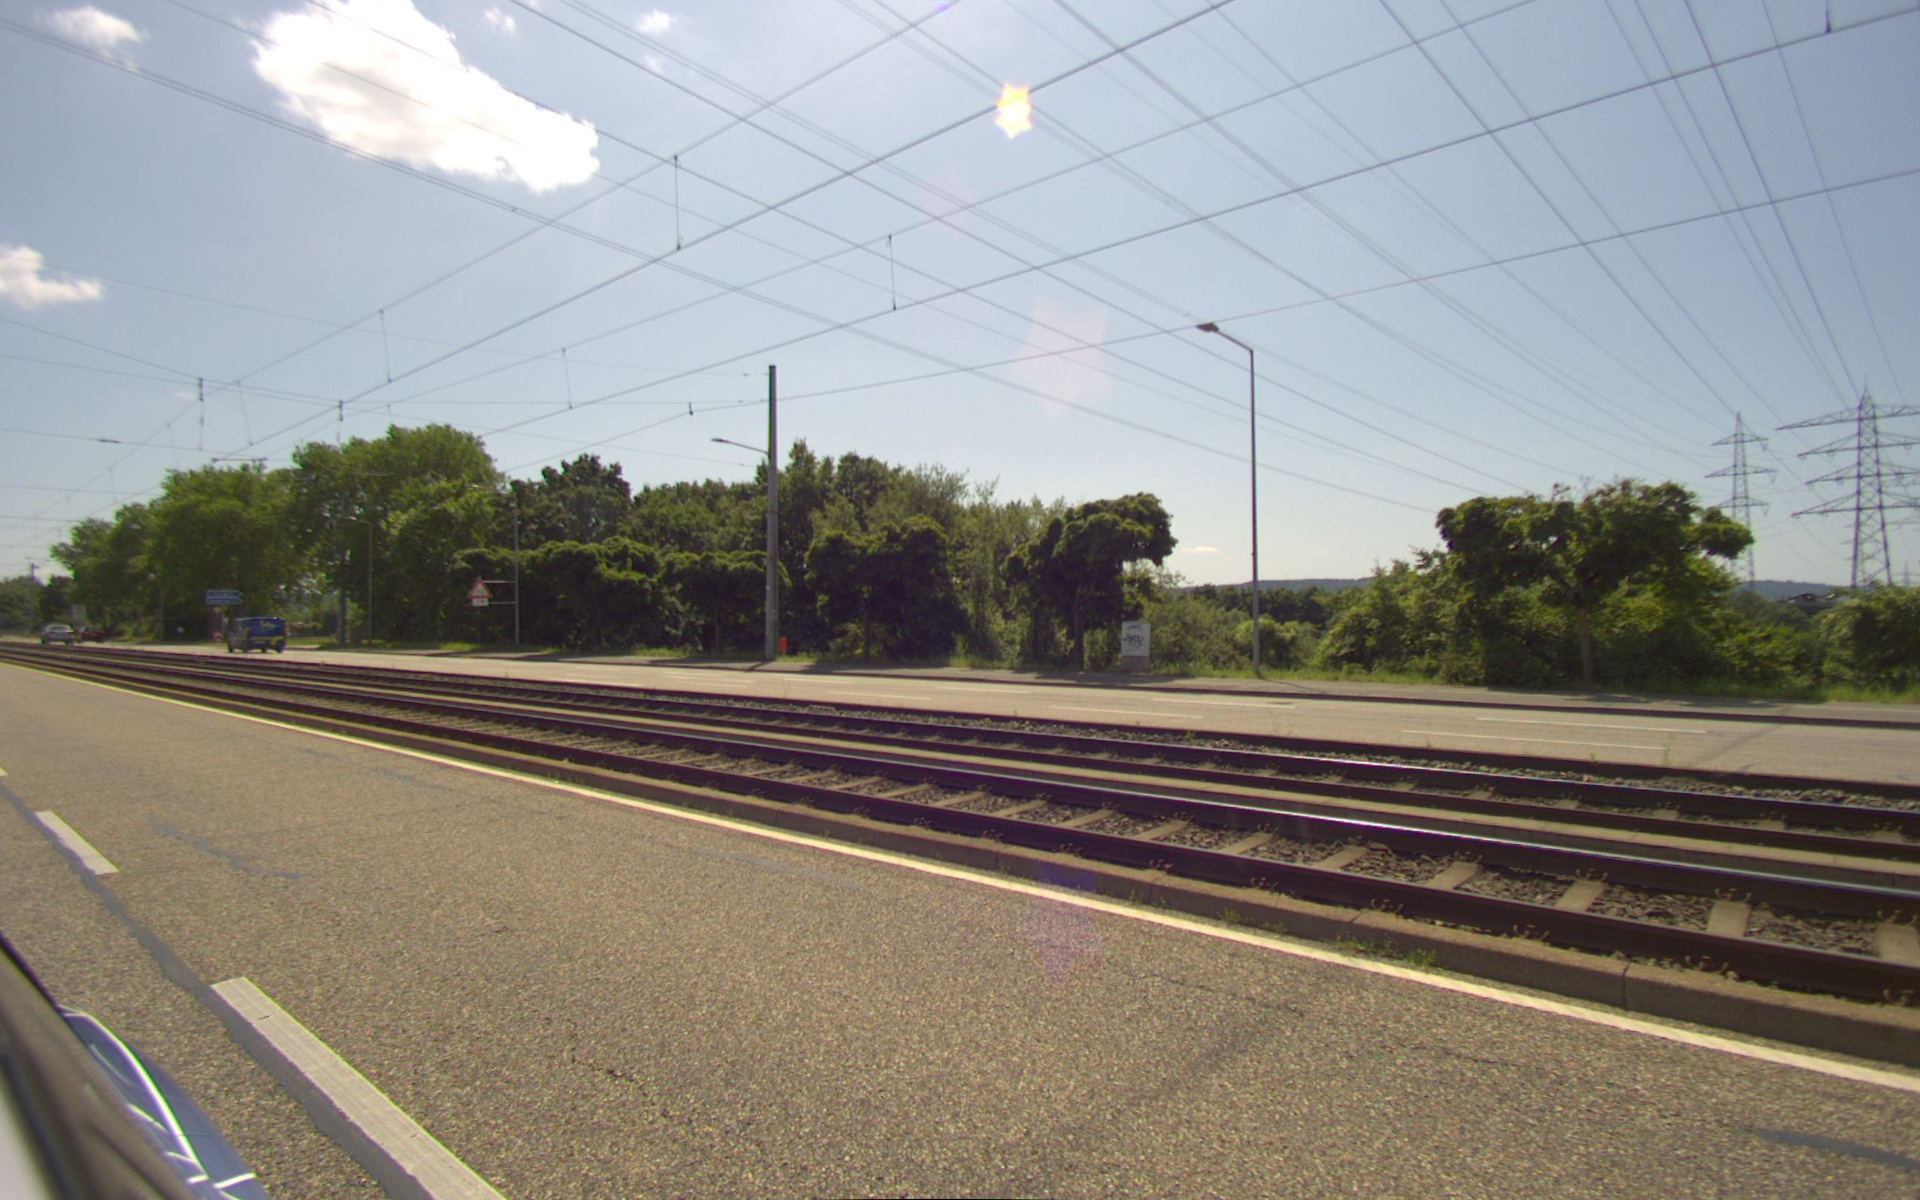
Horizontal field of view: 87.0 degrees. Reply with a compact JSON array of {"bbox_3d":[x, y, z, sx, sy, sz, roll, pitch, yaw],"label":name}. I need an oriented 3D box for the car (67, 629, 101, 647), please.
[{"bbox_3d":[-82.705,3.553,95.540,4.210,1.638,1.782,-2,-3,42],"label":"car"}]

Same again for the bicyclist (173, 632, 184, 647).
[{"bbox_3d":[-78.120,3.943,101.178,1.160,1.529,0.615,-2,-2,41],"label":"bicyclist"}]

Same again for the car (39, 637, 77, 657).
[{"bbox_3d":[-75.406,3.929,84.571,4.492,1.638,1.782,-2,-3,42],"label":"car"}]

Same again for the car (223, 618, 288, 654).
[{"bbox_3d":[-39.793,2.026,57.109,5.006,1.942,1.837,-2,-3,42],"label":"car"}]

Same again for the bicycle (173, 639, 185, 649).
[{"bbox_3d":[-78.057,4.370,101.142,2.090,0.946,0.615,-2,-2,41],"label":"bicycle"}]
